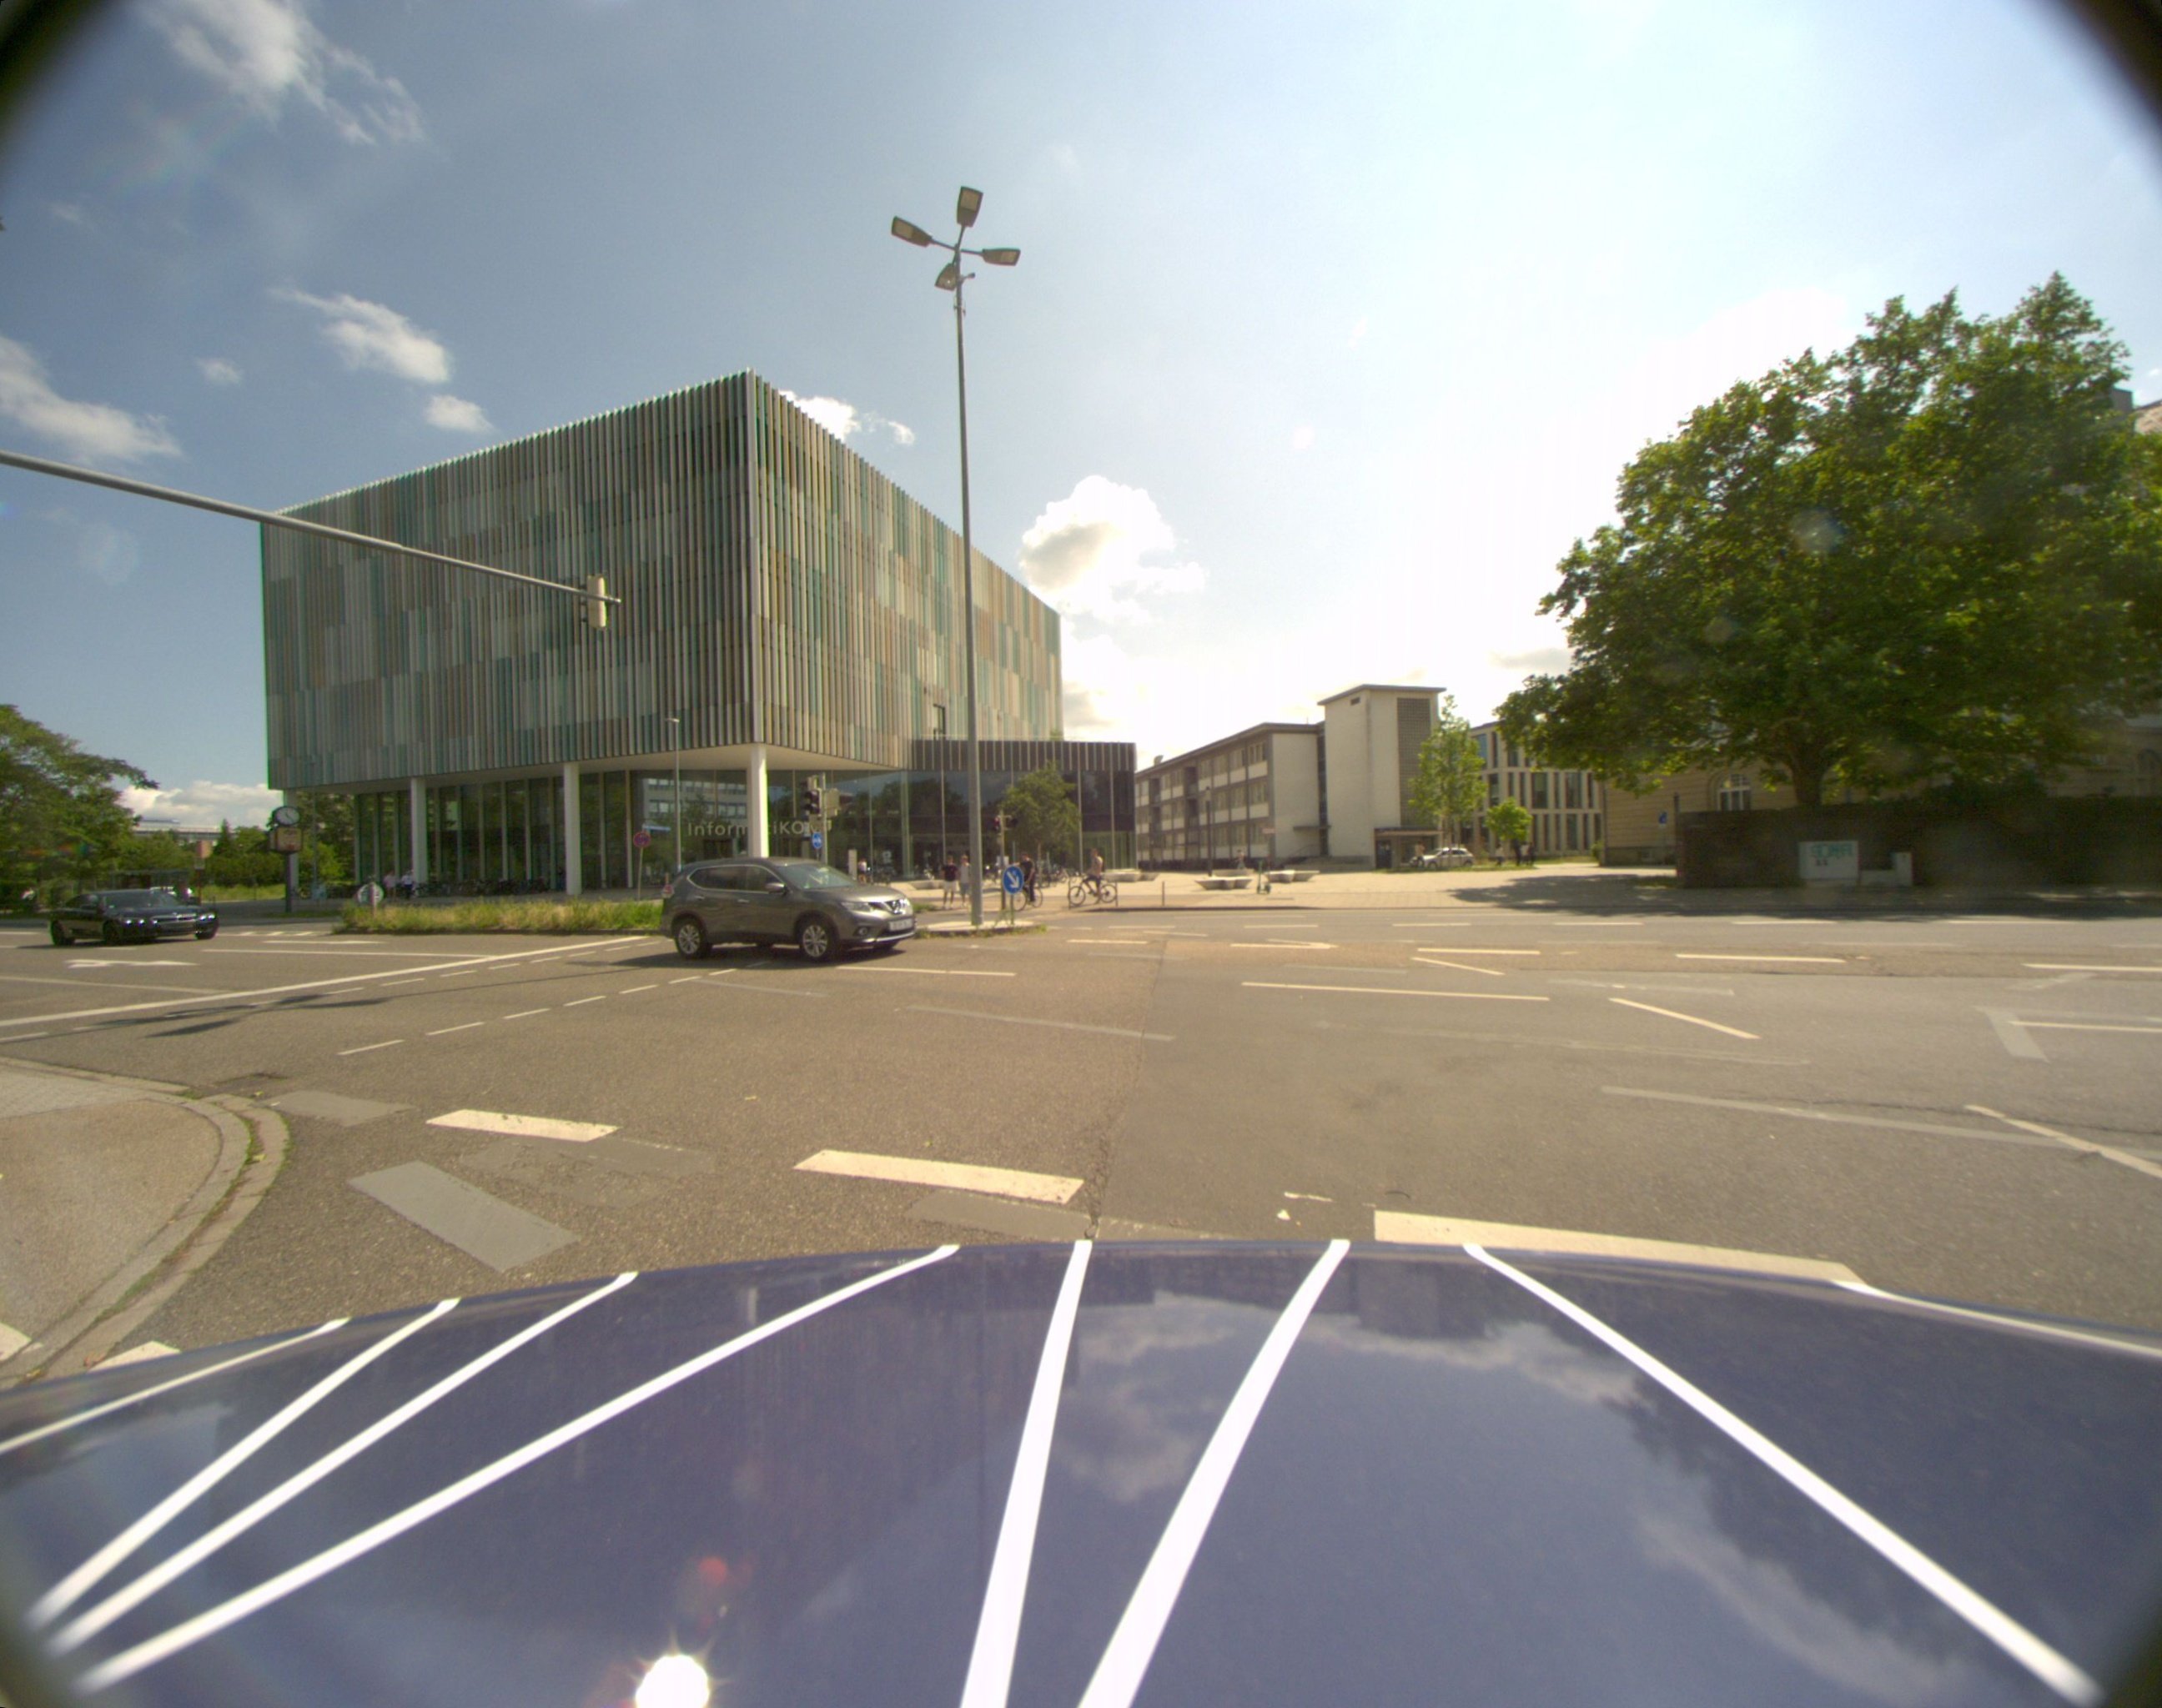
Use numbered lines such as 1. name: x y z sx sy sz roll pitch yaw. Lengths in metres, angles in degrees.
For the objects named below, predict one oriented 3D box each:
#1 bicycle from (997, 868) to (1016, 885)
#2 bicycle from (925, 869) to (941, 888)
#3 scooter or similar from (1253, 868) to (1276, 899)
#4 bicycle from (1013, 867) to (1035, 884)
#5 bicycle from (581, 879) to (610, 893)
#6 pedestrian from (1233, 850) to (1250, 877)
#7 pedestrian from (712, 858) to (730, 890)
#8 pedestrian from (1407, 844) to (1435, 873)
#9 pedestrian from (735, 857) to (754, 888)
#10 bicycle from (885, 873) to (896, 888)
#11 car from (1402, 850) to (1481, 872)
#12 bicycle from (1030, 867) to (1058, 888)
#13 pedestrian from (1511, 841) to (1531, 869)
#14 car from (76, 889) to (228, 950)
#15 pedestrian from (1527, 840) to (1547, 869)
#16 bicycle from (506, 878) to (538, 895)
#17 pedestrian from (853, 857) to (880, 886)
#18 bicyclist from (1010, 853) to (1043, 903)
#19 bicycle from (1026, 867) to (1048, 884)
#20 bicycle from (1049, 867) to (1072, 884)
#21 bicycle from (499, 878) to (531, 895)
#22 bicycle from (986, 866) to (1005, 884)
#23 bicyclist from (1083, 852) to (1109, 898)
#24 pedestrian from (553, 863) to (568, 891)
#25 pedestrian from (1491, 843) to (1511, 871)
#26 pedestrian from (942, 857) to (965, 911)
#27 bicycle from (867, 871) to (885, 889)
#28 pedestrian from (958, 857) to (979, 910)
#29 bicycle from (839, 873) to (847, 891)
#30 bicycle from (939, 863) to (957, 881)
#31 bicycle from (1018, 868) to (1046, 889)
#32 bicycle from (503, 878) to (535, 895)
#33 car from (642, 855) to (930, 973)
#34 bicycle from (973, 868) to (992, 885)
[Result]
1. bicycle: -4.425 1.296 44.901 0.530 0.950 1.769 -2 1 -26
2. bicycle: -8.419 1.395 43.282 0.529 0.950 1.770 -2 2 -23
3. scooter or similar: 6.617 1.054 27.402 0.403 1.060 1.150 -2 0 -7
4. bicycle: -3.399 1.279 44.969 0.530 0.950 1.769 -2 1 -32
5. bicycle: -29.721 1.958 46.543 0.372 0.771 1.548 -1 2 24
6. pedestrian: 10.589 0.611 50.124 0.843 1.779 0.677 -2 0 -10
7. pedestrian: -21.266 1.171 44.887 0.790 1.831 0.516 -2 2 -36
8. pedestrian: 20.271 0.260 45.320 1.296 1.641 1.329 -1 0 33
9. pedestrian: -20.177 1.089 45.589 0.676 1.831 0.692 -1 1 28
10. bicycle: -10.707 1.505 42.786 0.529 0.759 1.771 -1 1 -12
11. car: 24.056 0.453 50.757 4.495 1.298 1.997 -2 2 -12
12. bicycle: -1.775 1.139 36.531 0.530 0.950 1.769 -2 1 -32
13. pedestrian: 28.033 0.087 48.397 0.845 1.779 0.890 -1 0 -43
14. car: -25.535 1.738 20.867 4.180 1.408 1.834 -1 1 29
15. pedestrian: 28.567 0.024 47.580 0.863 1.779 0.845 -1 0 43
16. bicycle: -35.003 2.009 47.565 0.372 0.950 1.549 -1 2 35
17. pedestrian: -12.667 1.017 44.956 1.013 1.640 1.184 -1 0 20
18. bicyclist: -1.812 0.785 25.289 0.999 1.606 0.657 -2 0 -9
19. bicycle: -2.620 1.285 45.091 0.530 0.950 1.769 -2 1 -32
20. bicycle: -1.247 1.255 45.336 0.530 0.950 1.769 -2 1 -32
21. bicycle: -35.985 2.064 48.355 0.372 0.950 1.549 -1 2 35
22. bicycle: -5.037 1.223 44.694 0.530 0.950 1.769 -2 1 -26
23. bicyclist: 0.504 0.702 25.762 0.785 1.529 0.657 -2 0 -4
24. pedestrian: -34.162 1.501 49.879 0.553 1.831 0.562 -1 1 13
25. pedestrian: 27.246 0.177 49.288 0.845 1.779 0.812 -2 0 -36
26. pedestrian: -4.399 1.015 26.232 0.632 1.831 0.480 -1 1 6
27. bicycle: -11.520 1.440 42.700 0.528 0.950 1.773 -1 1 0
28. pedestrian: -3.883 1.015 26.225 0.574 1.831 0.416 -1 1 15
29. bicycle: -13.297 1.564 42.393 0.374 0.950 1.770 -2 1 -19
30. bicycle: -7.649 1.034 43.665 0.529 0.950 1.770 -5 2 -23
31. bicycle: -2.371 1.156 36.359 0.530 0.950 1.769 -2 1 -32
32. bicycle: -35.462 2.061 47.923 0.372 0.950 1.549 -1 2 35
33. car: -4.956 0.941 12.748 4.467 1.669 1.828 -2 0 24
34. bicycle: -5.743 1.289 44.342 0.530 0.950 1.769 -2 1 -26
